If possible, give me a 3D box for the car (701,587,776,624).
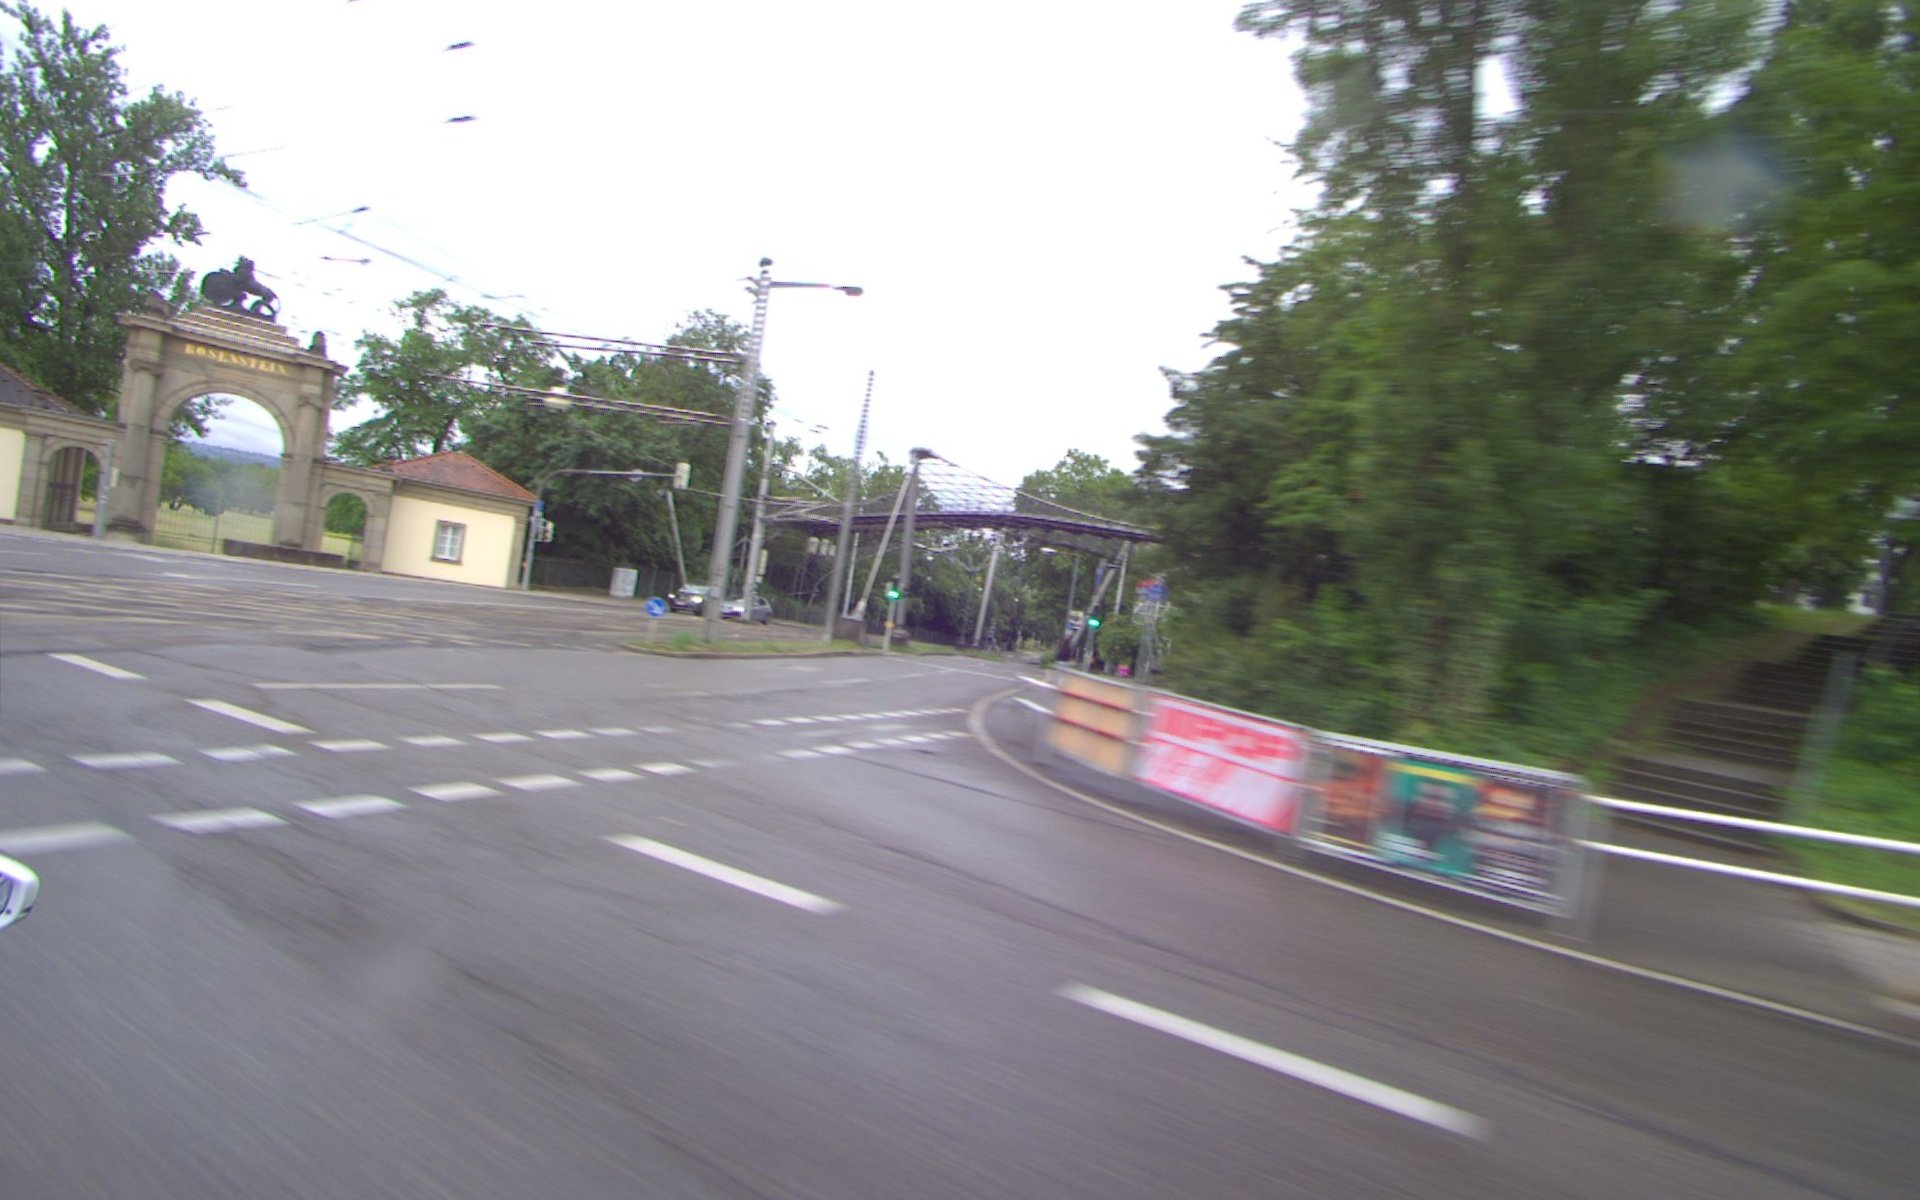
[{"bbox_3d":[-11.050,0.325,50.482,1.962,1.472,4.267,5,-2,12],"label":"car"}]

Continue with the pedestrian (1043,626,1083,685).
[{"bbox_3d":[3.031,1.633,29.490,0.795,1.573,0.655,10,1,18],"label":"pedestrian"}]

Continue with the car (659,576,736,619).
[{"bbox_3d":[-13.424,-0.089,51.770,1.962,1.755,4.267,5,-2,12],"label":"car"}]
